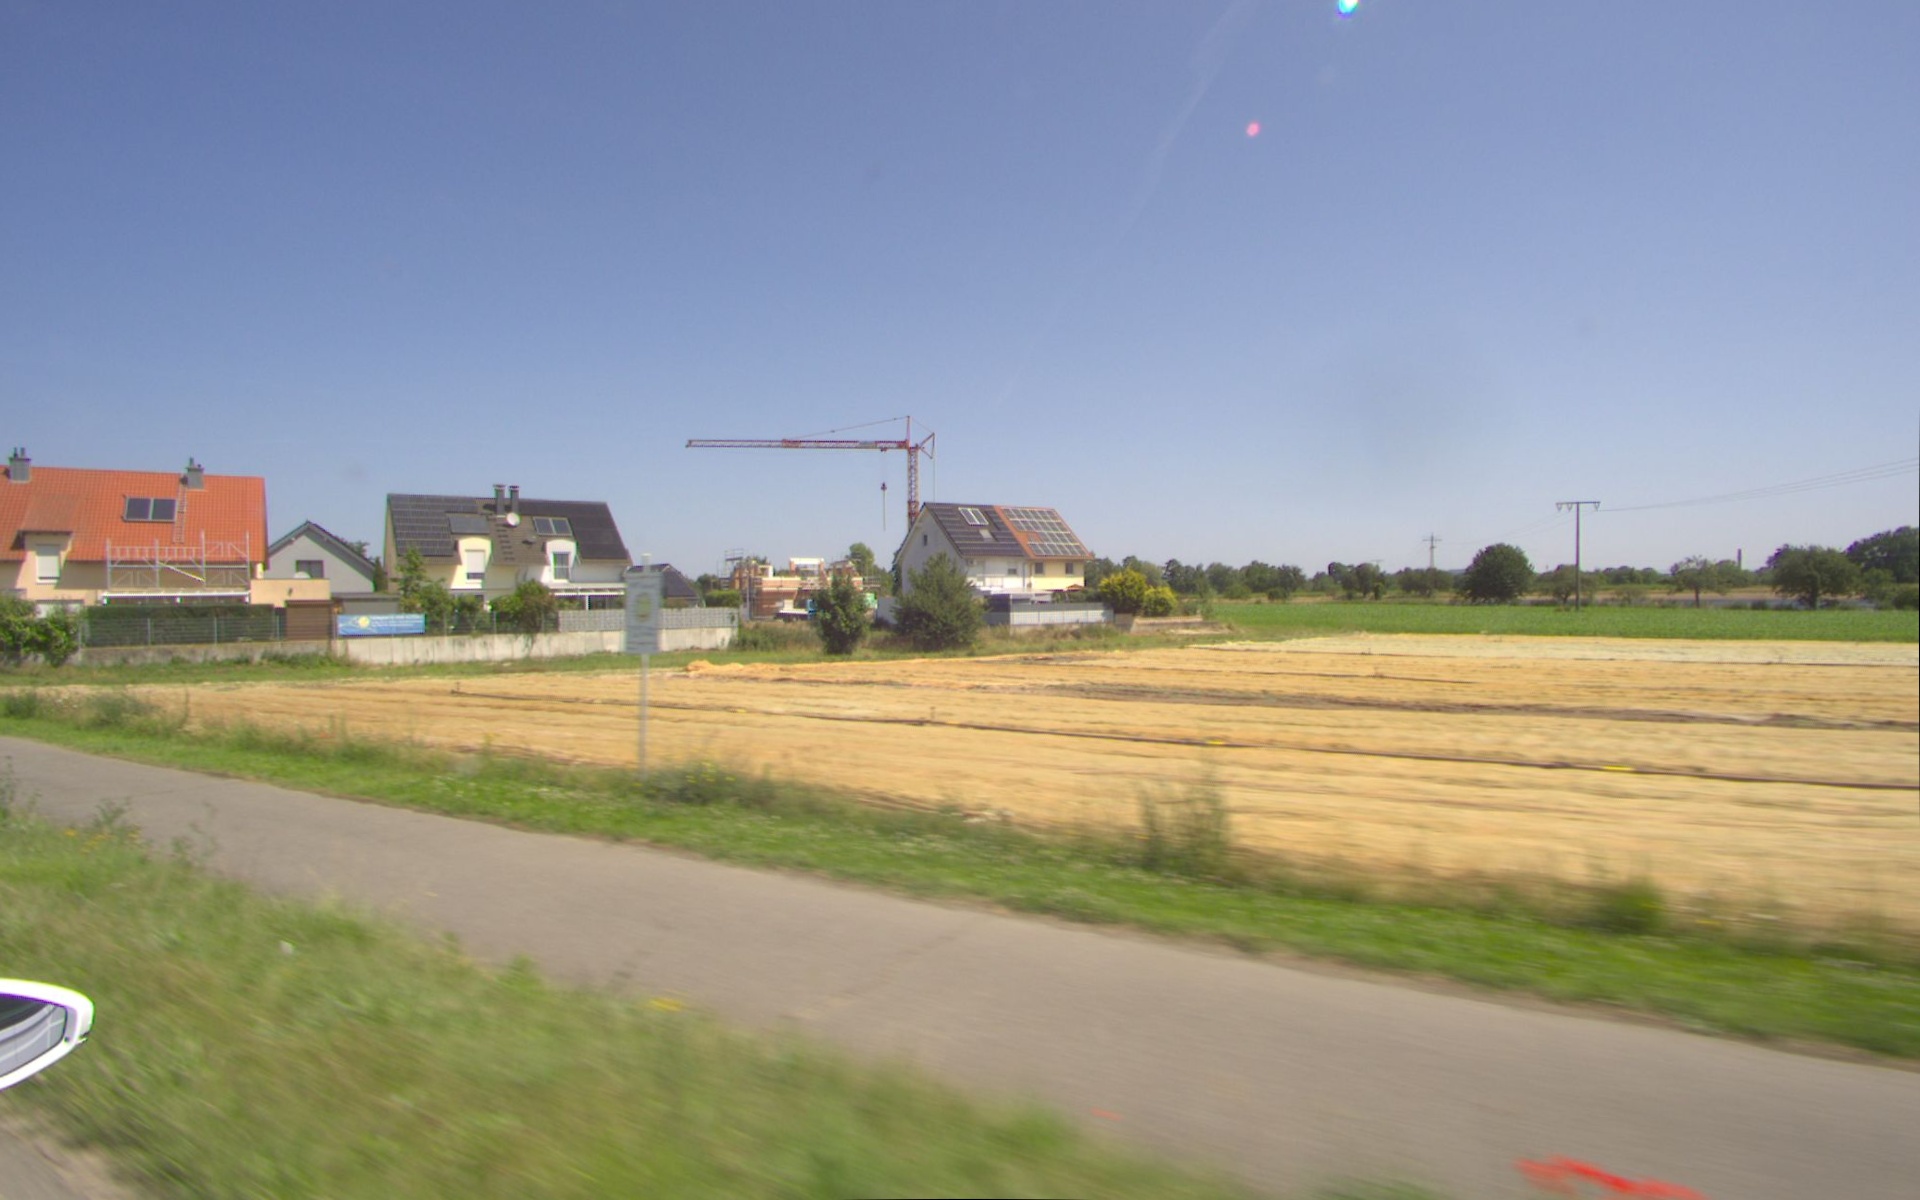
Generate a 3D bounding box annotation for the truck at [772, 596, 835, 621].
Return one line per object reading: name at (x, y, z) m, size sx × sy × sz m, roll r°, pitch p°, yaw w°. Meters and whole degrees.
truck at (-14.923, 0.767, 95.570) m, size 5.497 × 2.260 × 2.201 m, roll -2°, pitch 1°, yaw -34°
